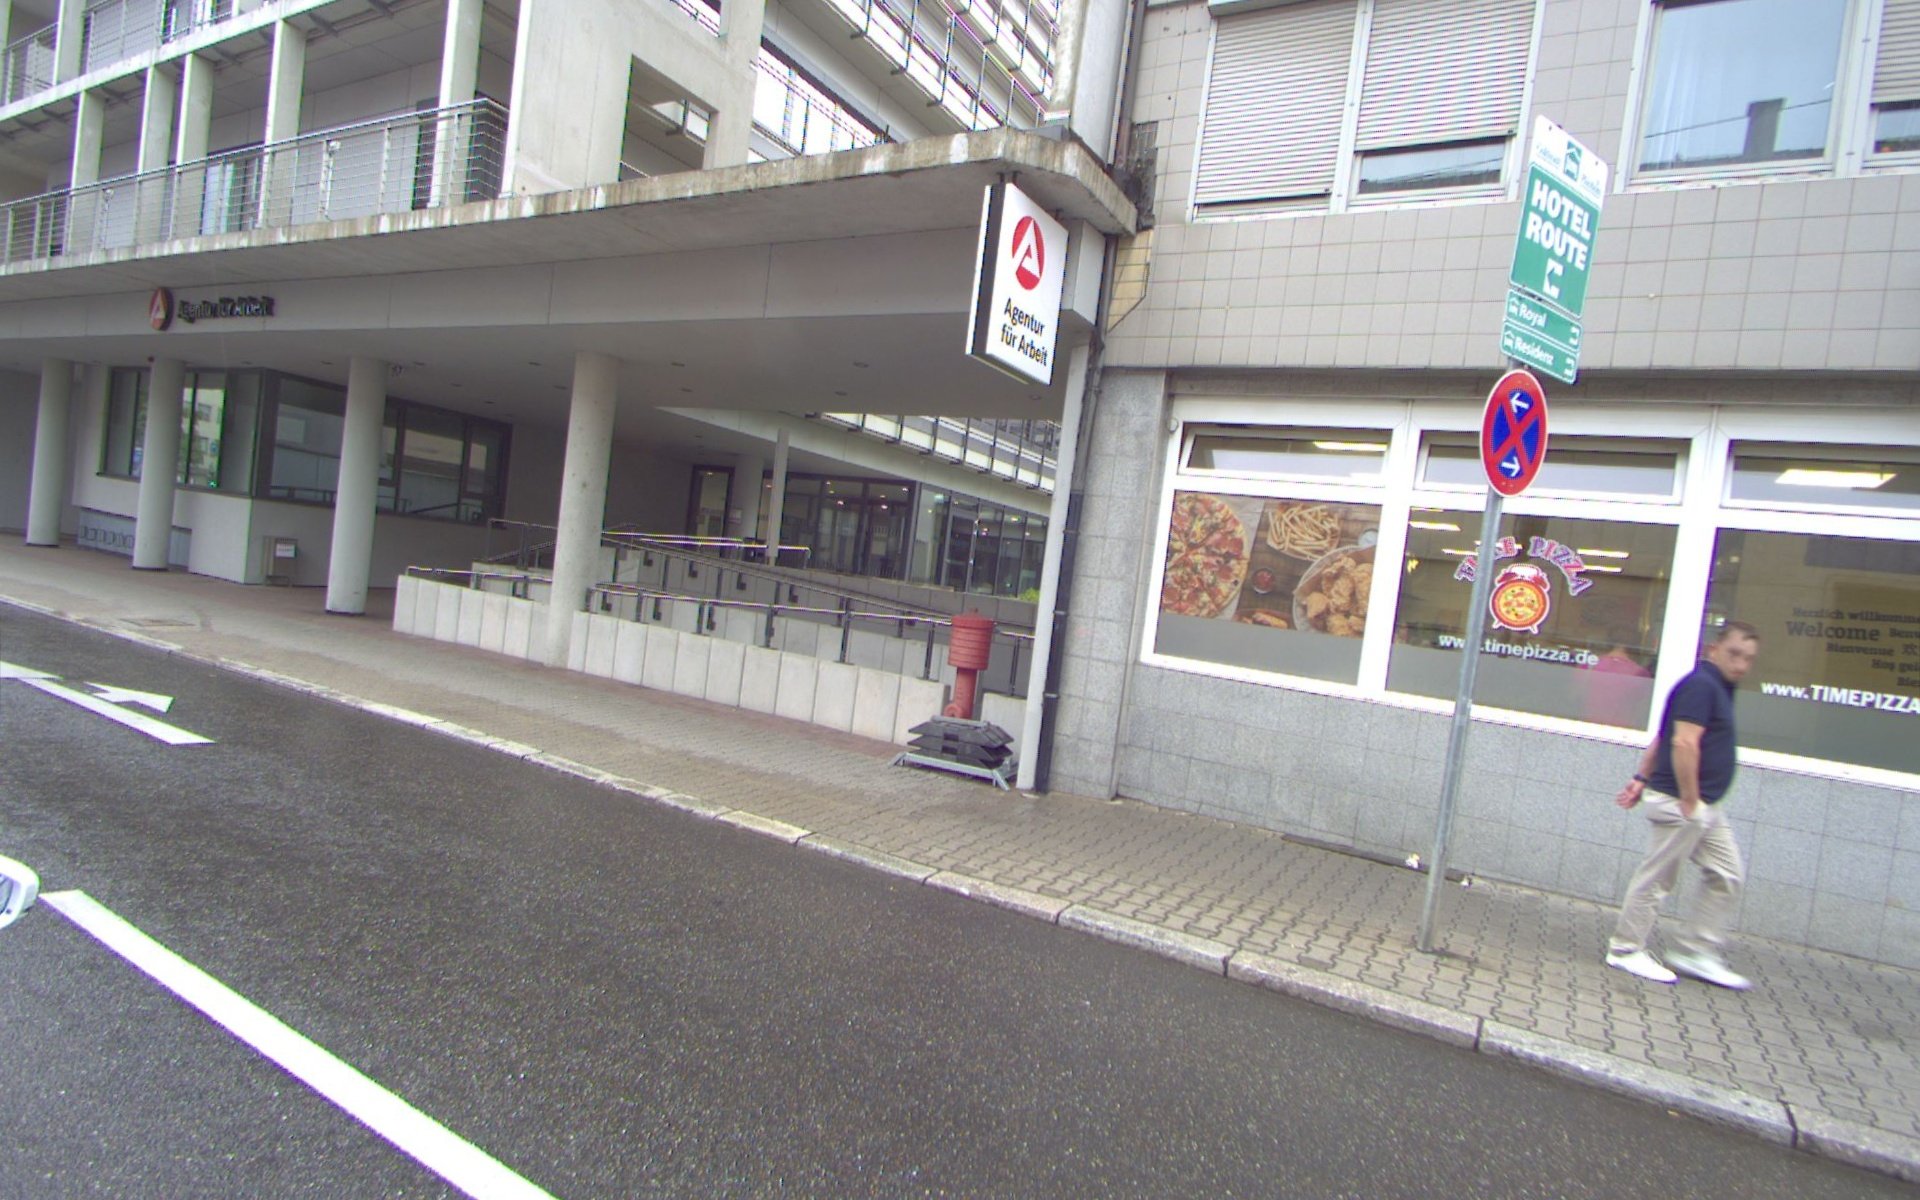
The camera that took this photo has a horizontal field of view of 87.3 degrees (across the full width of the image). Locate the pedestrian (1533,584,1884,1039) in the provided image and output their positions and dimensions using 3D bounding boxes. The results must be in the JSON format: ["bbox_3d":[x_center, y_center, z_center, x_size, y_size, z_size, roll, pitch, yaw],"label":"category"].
[{"bbox_3d":[3.570,0.909,4.952,1.101,1.893,0.868,6,5,32],"label":"pedestrian"}]
